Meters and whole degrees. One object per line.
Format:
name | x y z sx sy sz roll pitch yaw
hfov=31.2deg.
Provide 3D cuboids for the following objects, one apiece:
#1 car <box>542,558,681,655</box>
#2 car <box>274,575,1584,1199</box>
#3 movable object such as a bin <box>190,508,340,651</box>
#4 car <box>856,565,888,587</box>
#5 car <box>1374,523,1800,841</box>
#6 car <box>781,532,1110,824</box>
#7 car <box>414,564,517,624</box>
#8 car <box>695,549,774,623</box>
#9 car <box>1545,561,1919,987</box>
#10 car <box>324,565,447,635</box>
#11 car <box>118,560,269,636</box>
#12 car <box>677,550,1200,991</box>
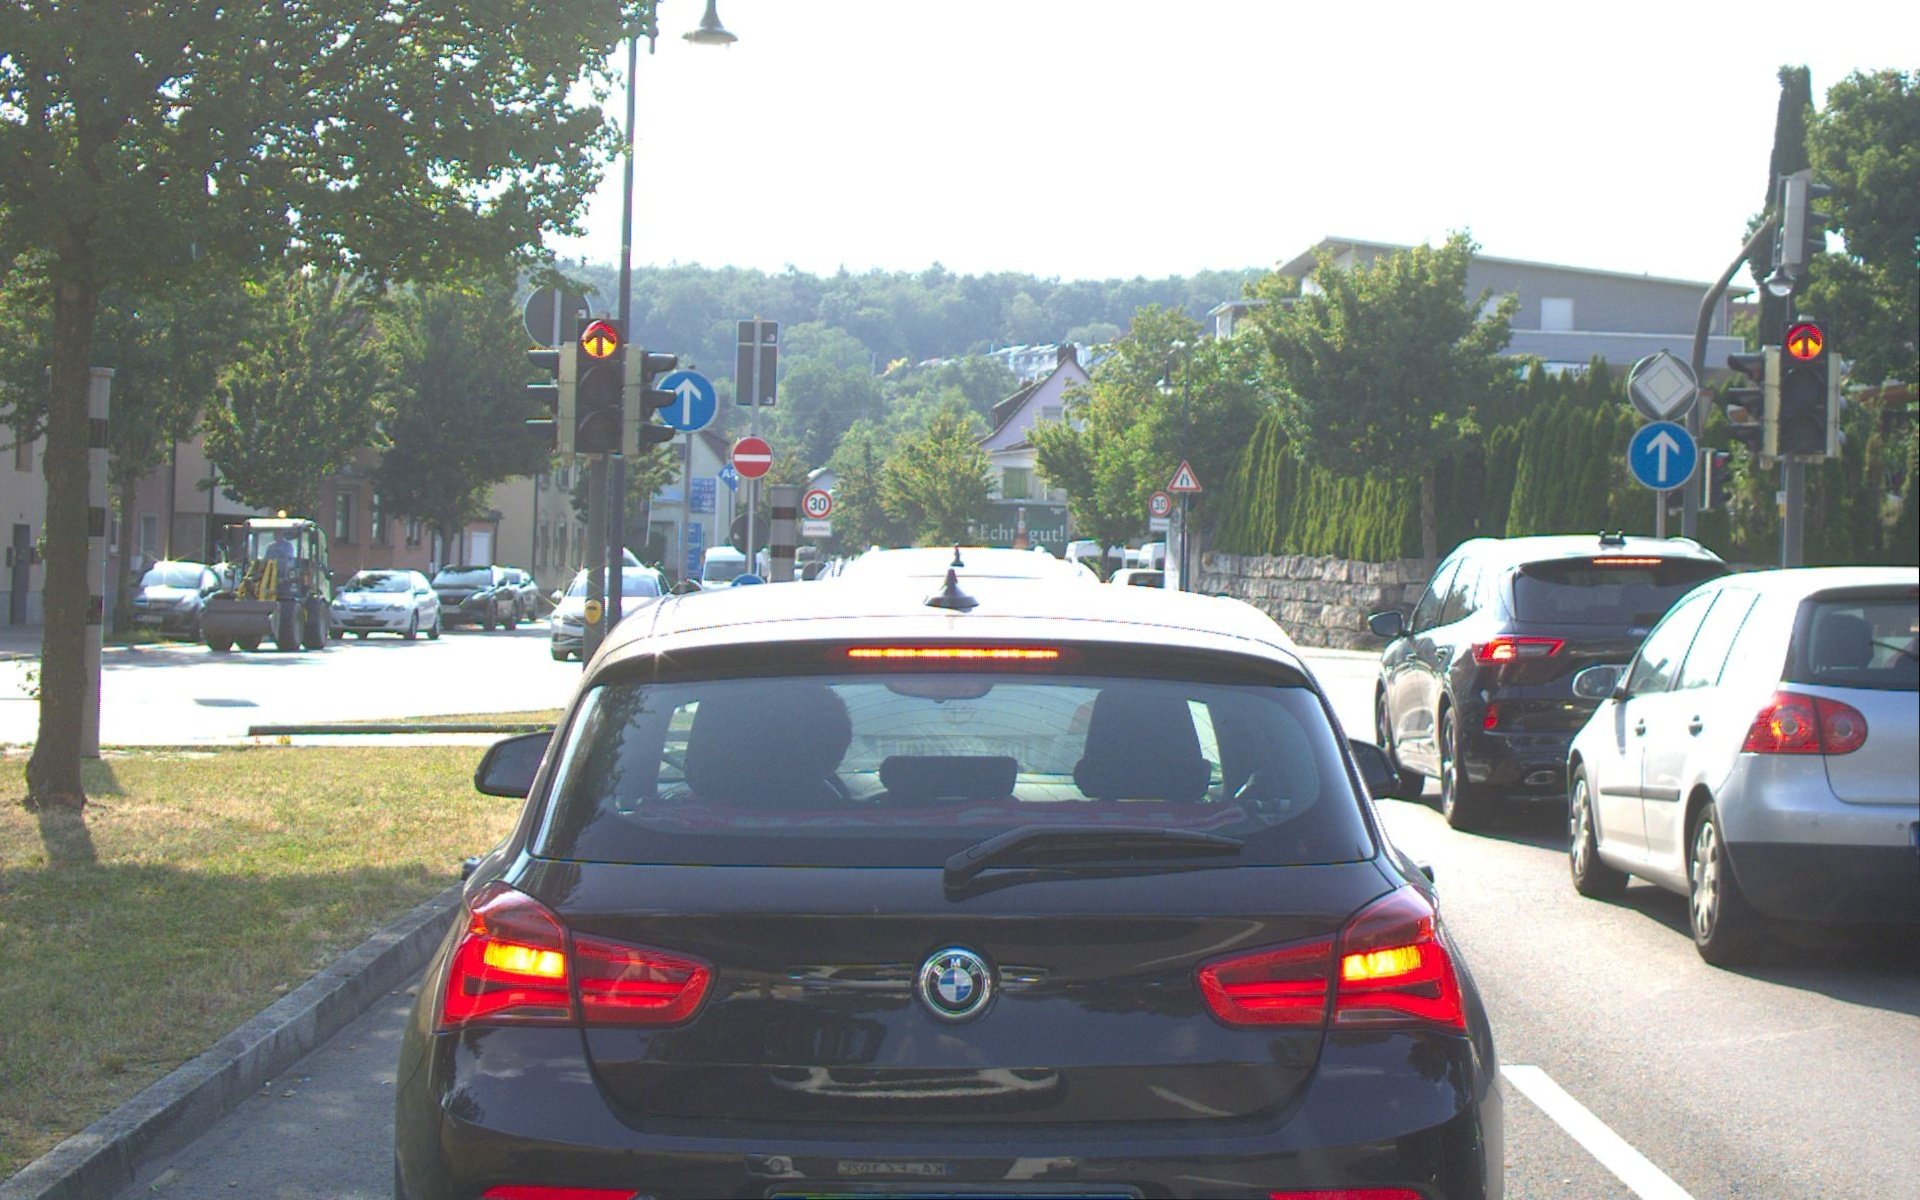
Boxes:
car | -5.587 0.076 55.518 1.839 1.477 4.000 1 1 0
car | -0.035 0.678 6.862 1.788 1.393 4.281 -1 1 0
movable object such as a bin | -12.271 -0.374 60.970 1.736 2.433 4.450 0 1 0
car | -5.742 -1.582 224.657 1.737 1.296 3.799 5 1 2
car | 3.532 0.397 20.027 1.761 1.650 3.903 -1 1 0
car | -0.077 0.393 21.047 1.788 1.588 4.281 -1 1 0
car | -12.170 -0.165 84.783 1.737 1.296 3.799 5 1 2
car | -7.515 -0.478 114.952 2.084 2.385 5.528 1 1 1
car | 3.558 0.576 13.745 1.761 1.421 3.903 -1 1 0
car | -12.167 -0.015 73.020 1.737 1.296 3.799 5 1 2
car | -14.930 -0.060 67.157 1.737 1.296 4.000 5 1 3
car | -0.071 0.558 14.008 1.788 1.488 4.281 -1 1 0
